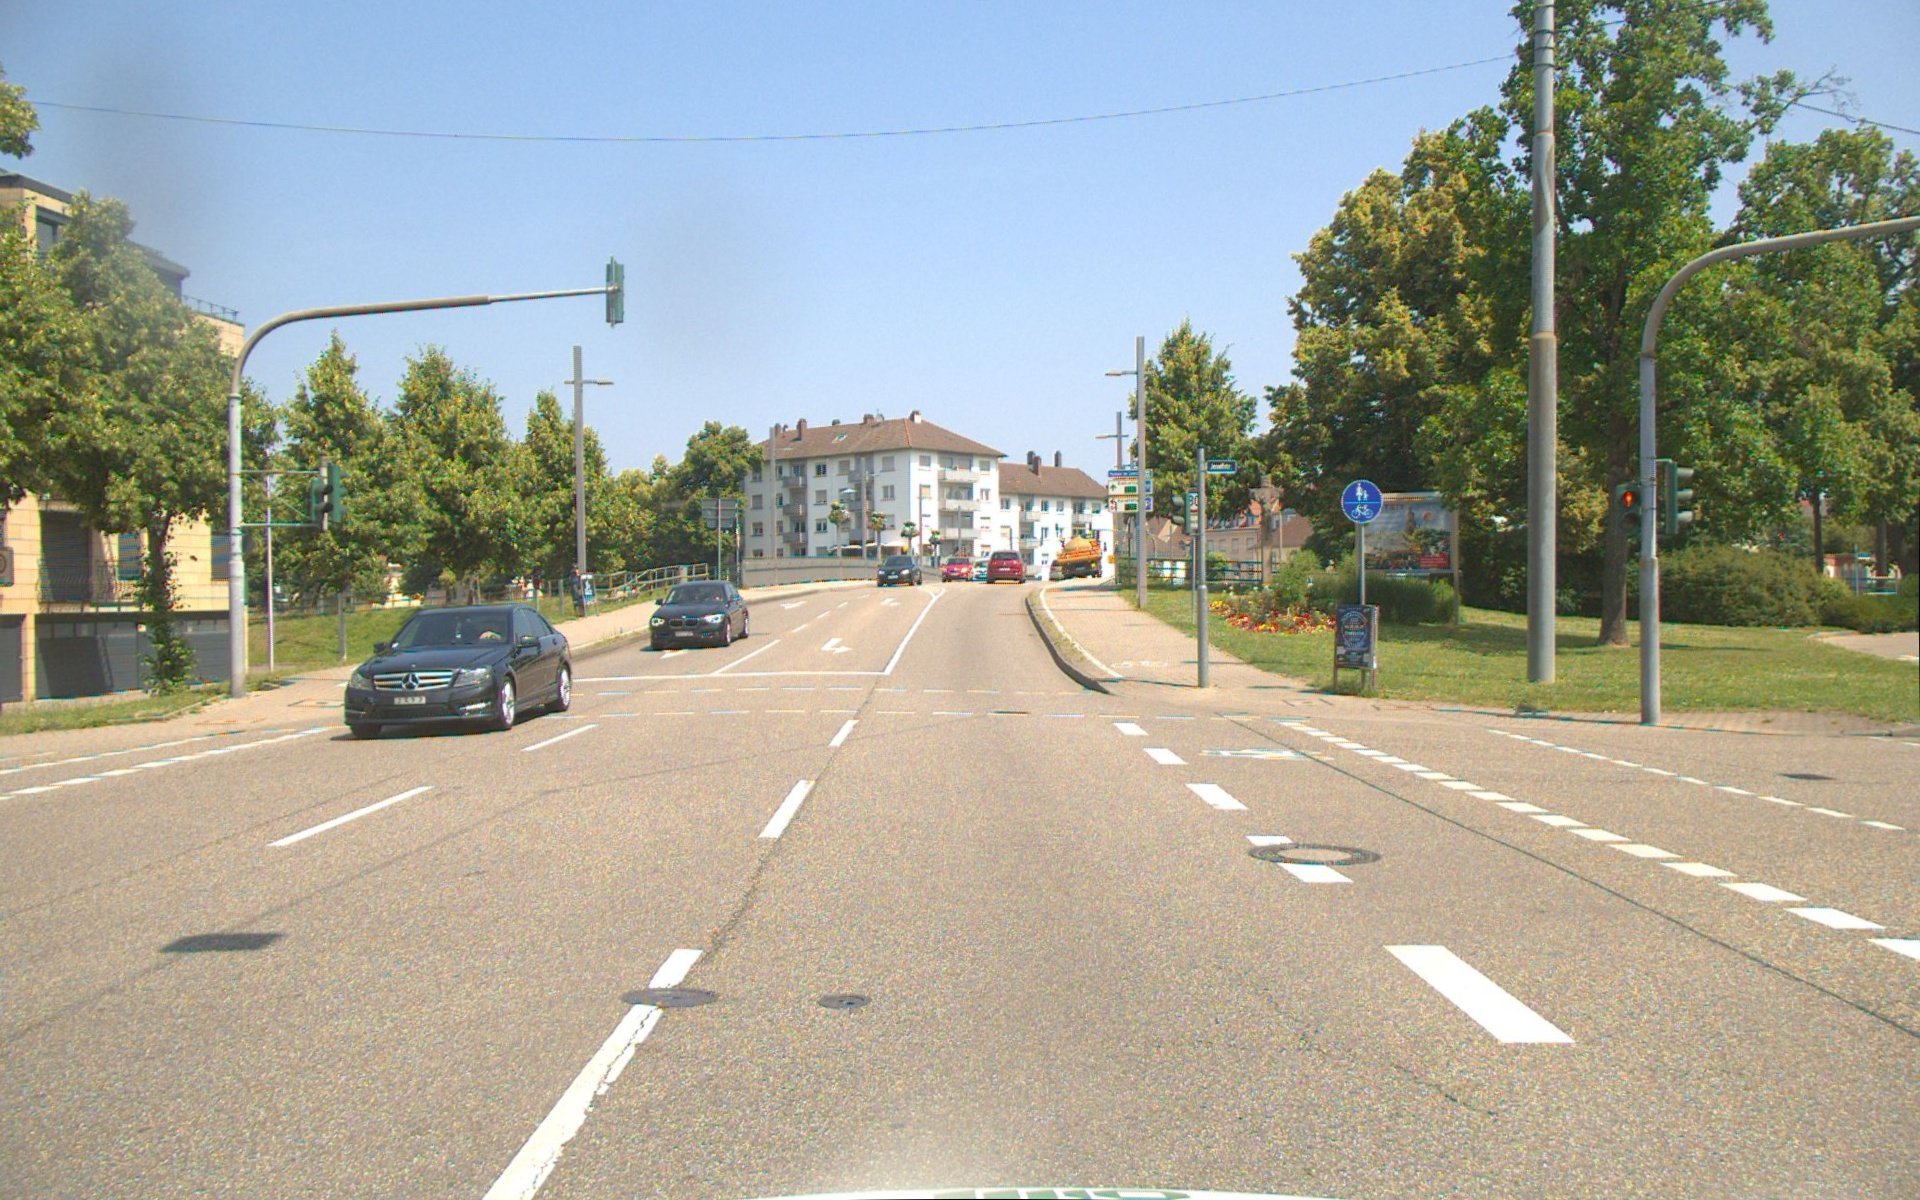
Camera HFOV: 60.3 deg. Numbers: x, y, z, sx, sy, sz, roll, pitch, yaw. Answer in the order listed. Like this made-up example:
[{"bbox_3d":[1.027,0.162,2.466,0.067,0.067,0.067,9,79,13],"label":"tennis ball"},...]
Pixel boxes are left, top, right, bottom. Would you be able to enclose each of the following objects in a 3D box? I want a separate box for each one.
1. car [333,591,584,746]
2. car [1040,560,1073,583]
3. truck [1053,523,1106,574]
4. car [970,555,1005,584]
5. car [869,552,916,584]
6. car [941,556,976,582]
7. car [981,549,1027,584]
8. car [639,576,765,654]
[{"bbox_3d":[-5.877,0.728,19.919,1.720,1.587,4.317,-2,0,-1],"label":"car"},{"bbox_3d":[6.763,-1.970,115.742,1.995,1.529,4.421,0,0,7],"label":"car"},{"bbox_3d":[6.757,-2.862,92.865,2.550,2.738,5.828,-1,1,8],"label":"truck"},{"bbox_3d":[1.926,-2.136,116.008,1.798,1.892,4.667,-2,1,8],"label":"car"},{"bbox_3d":[-3.248,-1.529,80.017,1.677,1.511,4.034,0,0,6],"label":"car"},{"bbox_3d":[-0.070,-1.861,99.243,1.612,1.489,3.864,0,0,7],"label":"car"},{"bbox_3d":[2.202,-1.649,81.453,1.948,1.641,4.345,-1,1,5],"label":"car"},{"bbox_3d":[-5.823,0.294,37.772,1.797,1.423,4.054,-3,3,6],"label":"car"}]
